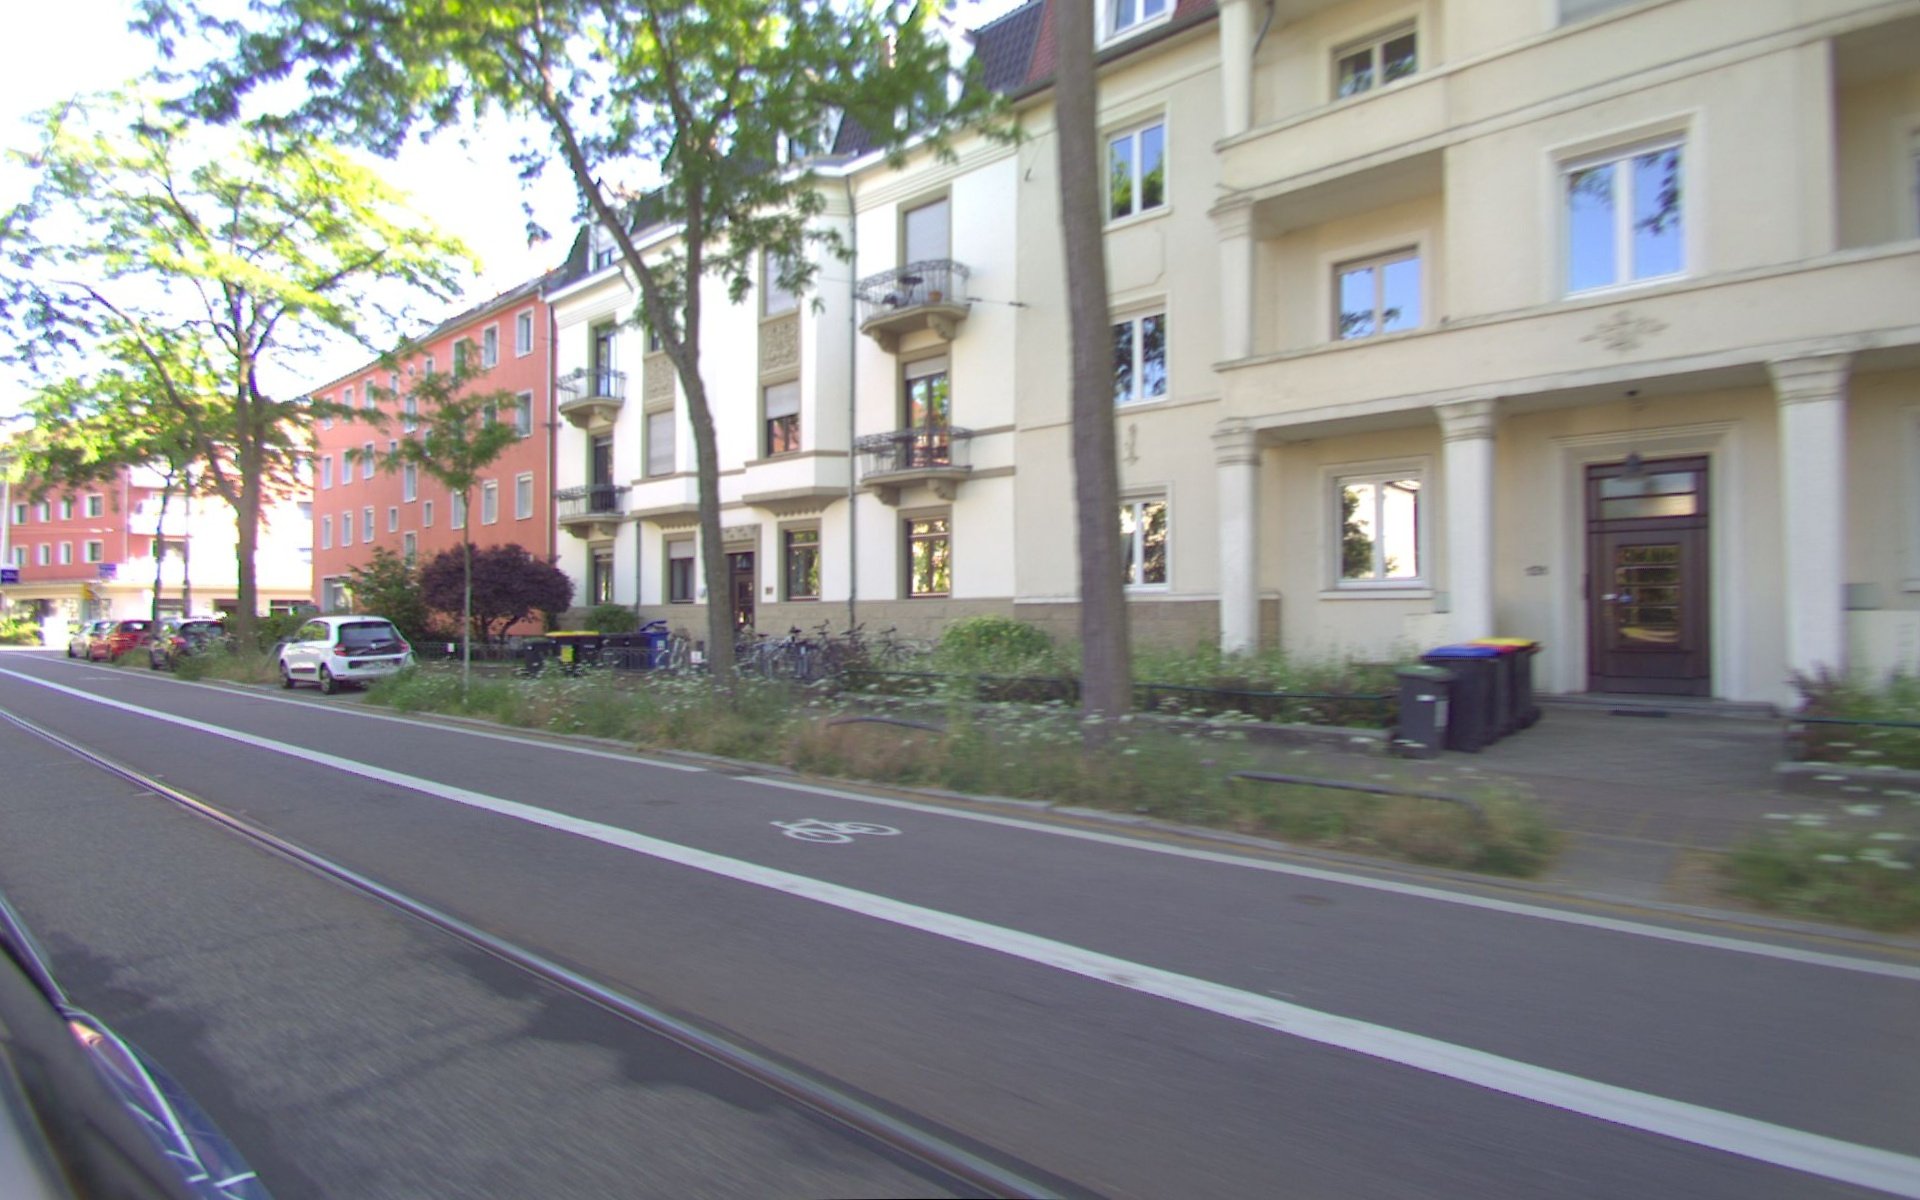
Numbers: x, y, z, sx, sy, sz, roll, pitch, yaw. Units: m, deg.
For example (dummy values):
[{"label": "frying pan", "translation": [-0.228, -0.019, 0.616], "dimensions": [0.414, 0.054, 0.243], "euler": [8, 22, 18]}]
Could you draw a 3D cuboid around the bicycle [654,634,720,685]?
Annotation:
[{"label": "bicycle", "translation": [-5.692, 1.222, 21.174], "dimensions": [0.552, 1.004, 1.855], "euler": [0, -1, 12]}]

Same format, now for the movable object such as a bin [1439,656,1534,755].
[{"label": "movable object such as a bin", "translation": [5.471, 1.075, 10.520], "dimensions": [0.739, 0.928, 0.621], "euler": [-1, 0, 41]}]

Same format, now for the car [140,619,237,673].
[{"label": "car", "translation": [-22.392, 1.293, 29.328], "dimensions": [3.666, 1.465, 1.538], "euler": [-1, -1, 41]}]

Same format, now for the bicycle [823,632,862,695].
[{"label": "bicycle", "translation": [-2.014, 1.062, 17.437], "dimensions": [0.550, 1.004, 1.863], "euler": [0, -1, -3]}]

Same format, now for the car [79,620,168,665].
[{"label": "car", "translation": [-29.099, 1.443, 35.167], "dimensions": [4.091, 1.465, 1.558], "euler": [-1, -1, 38]}]

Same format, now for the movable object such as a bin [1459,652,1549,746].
[{"label": "movable object such as a bin", "translation": [5.905, 1.053, 10.986], "dimensions": [0.739, 0.928, 0.621], "euler": [-1, 0, 41]}]

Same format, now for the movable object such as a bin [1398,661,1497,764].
[{"label": "movable object such as a bin", "translation": [4.875, 1.102, 10.121], "dimensions": [0.739, 0.928, 0.621], "euler": [-1, 0, 41]}]

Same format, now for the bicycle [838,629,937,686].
[{"label": "bicycle", "translation": [-1.413, 1.106, 19.694], "dimensions": [1.831, 1.004, 0.560], "euler": [-2, -1, -15]}]

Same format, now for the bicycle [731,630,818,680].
[{"label": "bicycle", "translation": [-4.058, 1.187, 22.188], "dimensions": [1.833, 1.004, 0.559], "euler": [-2, -1, -8]}]

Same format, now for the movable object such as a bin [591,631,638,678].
[{"label": "movable object such as a bin", "translation": [-8.351, 1.302, 24.469], "dimensions": [0.895, 1.093, 0.730], "euler": [-1, -2, 41]}]

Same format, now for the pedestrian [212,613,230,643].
[{"label": "pedestrian", "translation": [-44.865, 1.709, 61.432], "dimensions": [0.791, 1.779, 0.510], "euler": [1, -2, -30]}]

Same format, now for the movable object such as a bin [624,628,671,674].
[{"label": "movable object such as a bin", "translation": [-7.774, 1.247, 25.178], "dimensions": [0.895, 1.122, 0.730], "euler": [-1, -2, 41]}]

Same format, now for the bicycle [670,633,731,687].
[{"label": "bicycle", "translation": [-5.152, 1.176, 20.170], "dimensions": [0.551, 1.004, 1.858], "euler": [0, -1, 7]}]

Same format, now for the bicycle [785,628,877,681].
[{"label": "bicycle", "translation": [-2.657, 1.109, 20.886], "dimensions": [1.833, 1.004, 0.559], "euler": [-2, -1, -8]}]

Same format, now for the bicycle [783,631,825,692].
[{"label": "bicycle", "translation": [-2.739, 1.064, 17.878], "dimensions": [0.550, 1.004, 1.863], "euler": [0, -1, -3]}]

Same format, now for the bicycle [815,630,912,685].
[{"label": "bicycle", "translation": [-1.939, 1.138, 20.267], "dimensions": [1.831, 1.004, 0.560], "euler": [-2, -1, -15]}]

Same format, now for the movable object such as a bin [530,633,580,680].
[{"label": "movable object such as a bin", "translation": [-9.330, 1.287, 23.328], "dimensions": [0.895, 1.049, 0.730], "euler": [-1, -2, 41]}]

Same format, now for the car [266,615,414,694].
[{"label": "car", "translation": [-13.360, 1.111, 21.749], "dimensions": [3.686, 1.547, 1.609], "euler": [-1, -1, 39]}]

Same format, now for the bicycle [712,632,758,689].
[{"label": "bicycle", "translation": [-4.281, 1.132, 19.373], "dimensions": [0.550, 1.004, 1.863], "euler": [0, -1, -3]}]

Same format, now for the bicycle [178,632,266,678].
[{"label": "bicycle", "translation": [-19.269, 1.421, 26.458], "dimensions": [0.542, 1.129, 1.793], "euler": [-1, -1, 41]}]

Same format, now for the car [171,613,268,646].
[{"label": "car", "translation": [-41.269, 1.638, 56.547], "dimensions": [4.216, 1.793, 1.793], "euler": [1, -2, -33]}]

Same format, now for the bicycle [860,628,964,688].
[{"label": "bicycle", "translation": [-0.896, 1.067, 18.848], "dimensions": [1.831, 1.004, 0.560], "euler": [-2, -1, -15]}]

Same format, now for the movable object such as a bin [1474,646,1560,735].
[{"label": "movable object such as a bin", "translation": [6.325, 1.006, 11.495], "dimensions": [0.739, 0.928, 0.621], "euler": [-1, 0, 41]}]

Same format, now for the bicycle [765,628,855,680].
[{"label": "bicycle", "translation": [-3.191, 1.138, 21.572], "dimensions": [1.833, 1.004, 0.559], "euler": [-2, -1, -8]}]

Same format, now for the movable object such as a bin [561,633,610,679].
[{"label": "movable object such as a bin", "translation": [-8.838, 1.313, 23.889], "dimensions": [0.895, 1.062, 0.730], "euler": [-1, -2, 41]}]

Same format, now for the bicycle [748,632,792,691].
[{"label": "bicycle", "translation": [-3.480, 1.098, 18.605], "dimensions": [0.550, 1.004, 1.863], "euler": [0, -1, -3]}]

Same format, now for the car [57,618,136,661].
[{"label": "car", "translation": [-32.914, 1.478, 38.542], "dimensions": [4.092, 1.517, 1.558], "euler": [-1, -1, 39]}]
